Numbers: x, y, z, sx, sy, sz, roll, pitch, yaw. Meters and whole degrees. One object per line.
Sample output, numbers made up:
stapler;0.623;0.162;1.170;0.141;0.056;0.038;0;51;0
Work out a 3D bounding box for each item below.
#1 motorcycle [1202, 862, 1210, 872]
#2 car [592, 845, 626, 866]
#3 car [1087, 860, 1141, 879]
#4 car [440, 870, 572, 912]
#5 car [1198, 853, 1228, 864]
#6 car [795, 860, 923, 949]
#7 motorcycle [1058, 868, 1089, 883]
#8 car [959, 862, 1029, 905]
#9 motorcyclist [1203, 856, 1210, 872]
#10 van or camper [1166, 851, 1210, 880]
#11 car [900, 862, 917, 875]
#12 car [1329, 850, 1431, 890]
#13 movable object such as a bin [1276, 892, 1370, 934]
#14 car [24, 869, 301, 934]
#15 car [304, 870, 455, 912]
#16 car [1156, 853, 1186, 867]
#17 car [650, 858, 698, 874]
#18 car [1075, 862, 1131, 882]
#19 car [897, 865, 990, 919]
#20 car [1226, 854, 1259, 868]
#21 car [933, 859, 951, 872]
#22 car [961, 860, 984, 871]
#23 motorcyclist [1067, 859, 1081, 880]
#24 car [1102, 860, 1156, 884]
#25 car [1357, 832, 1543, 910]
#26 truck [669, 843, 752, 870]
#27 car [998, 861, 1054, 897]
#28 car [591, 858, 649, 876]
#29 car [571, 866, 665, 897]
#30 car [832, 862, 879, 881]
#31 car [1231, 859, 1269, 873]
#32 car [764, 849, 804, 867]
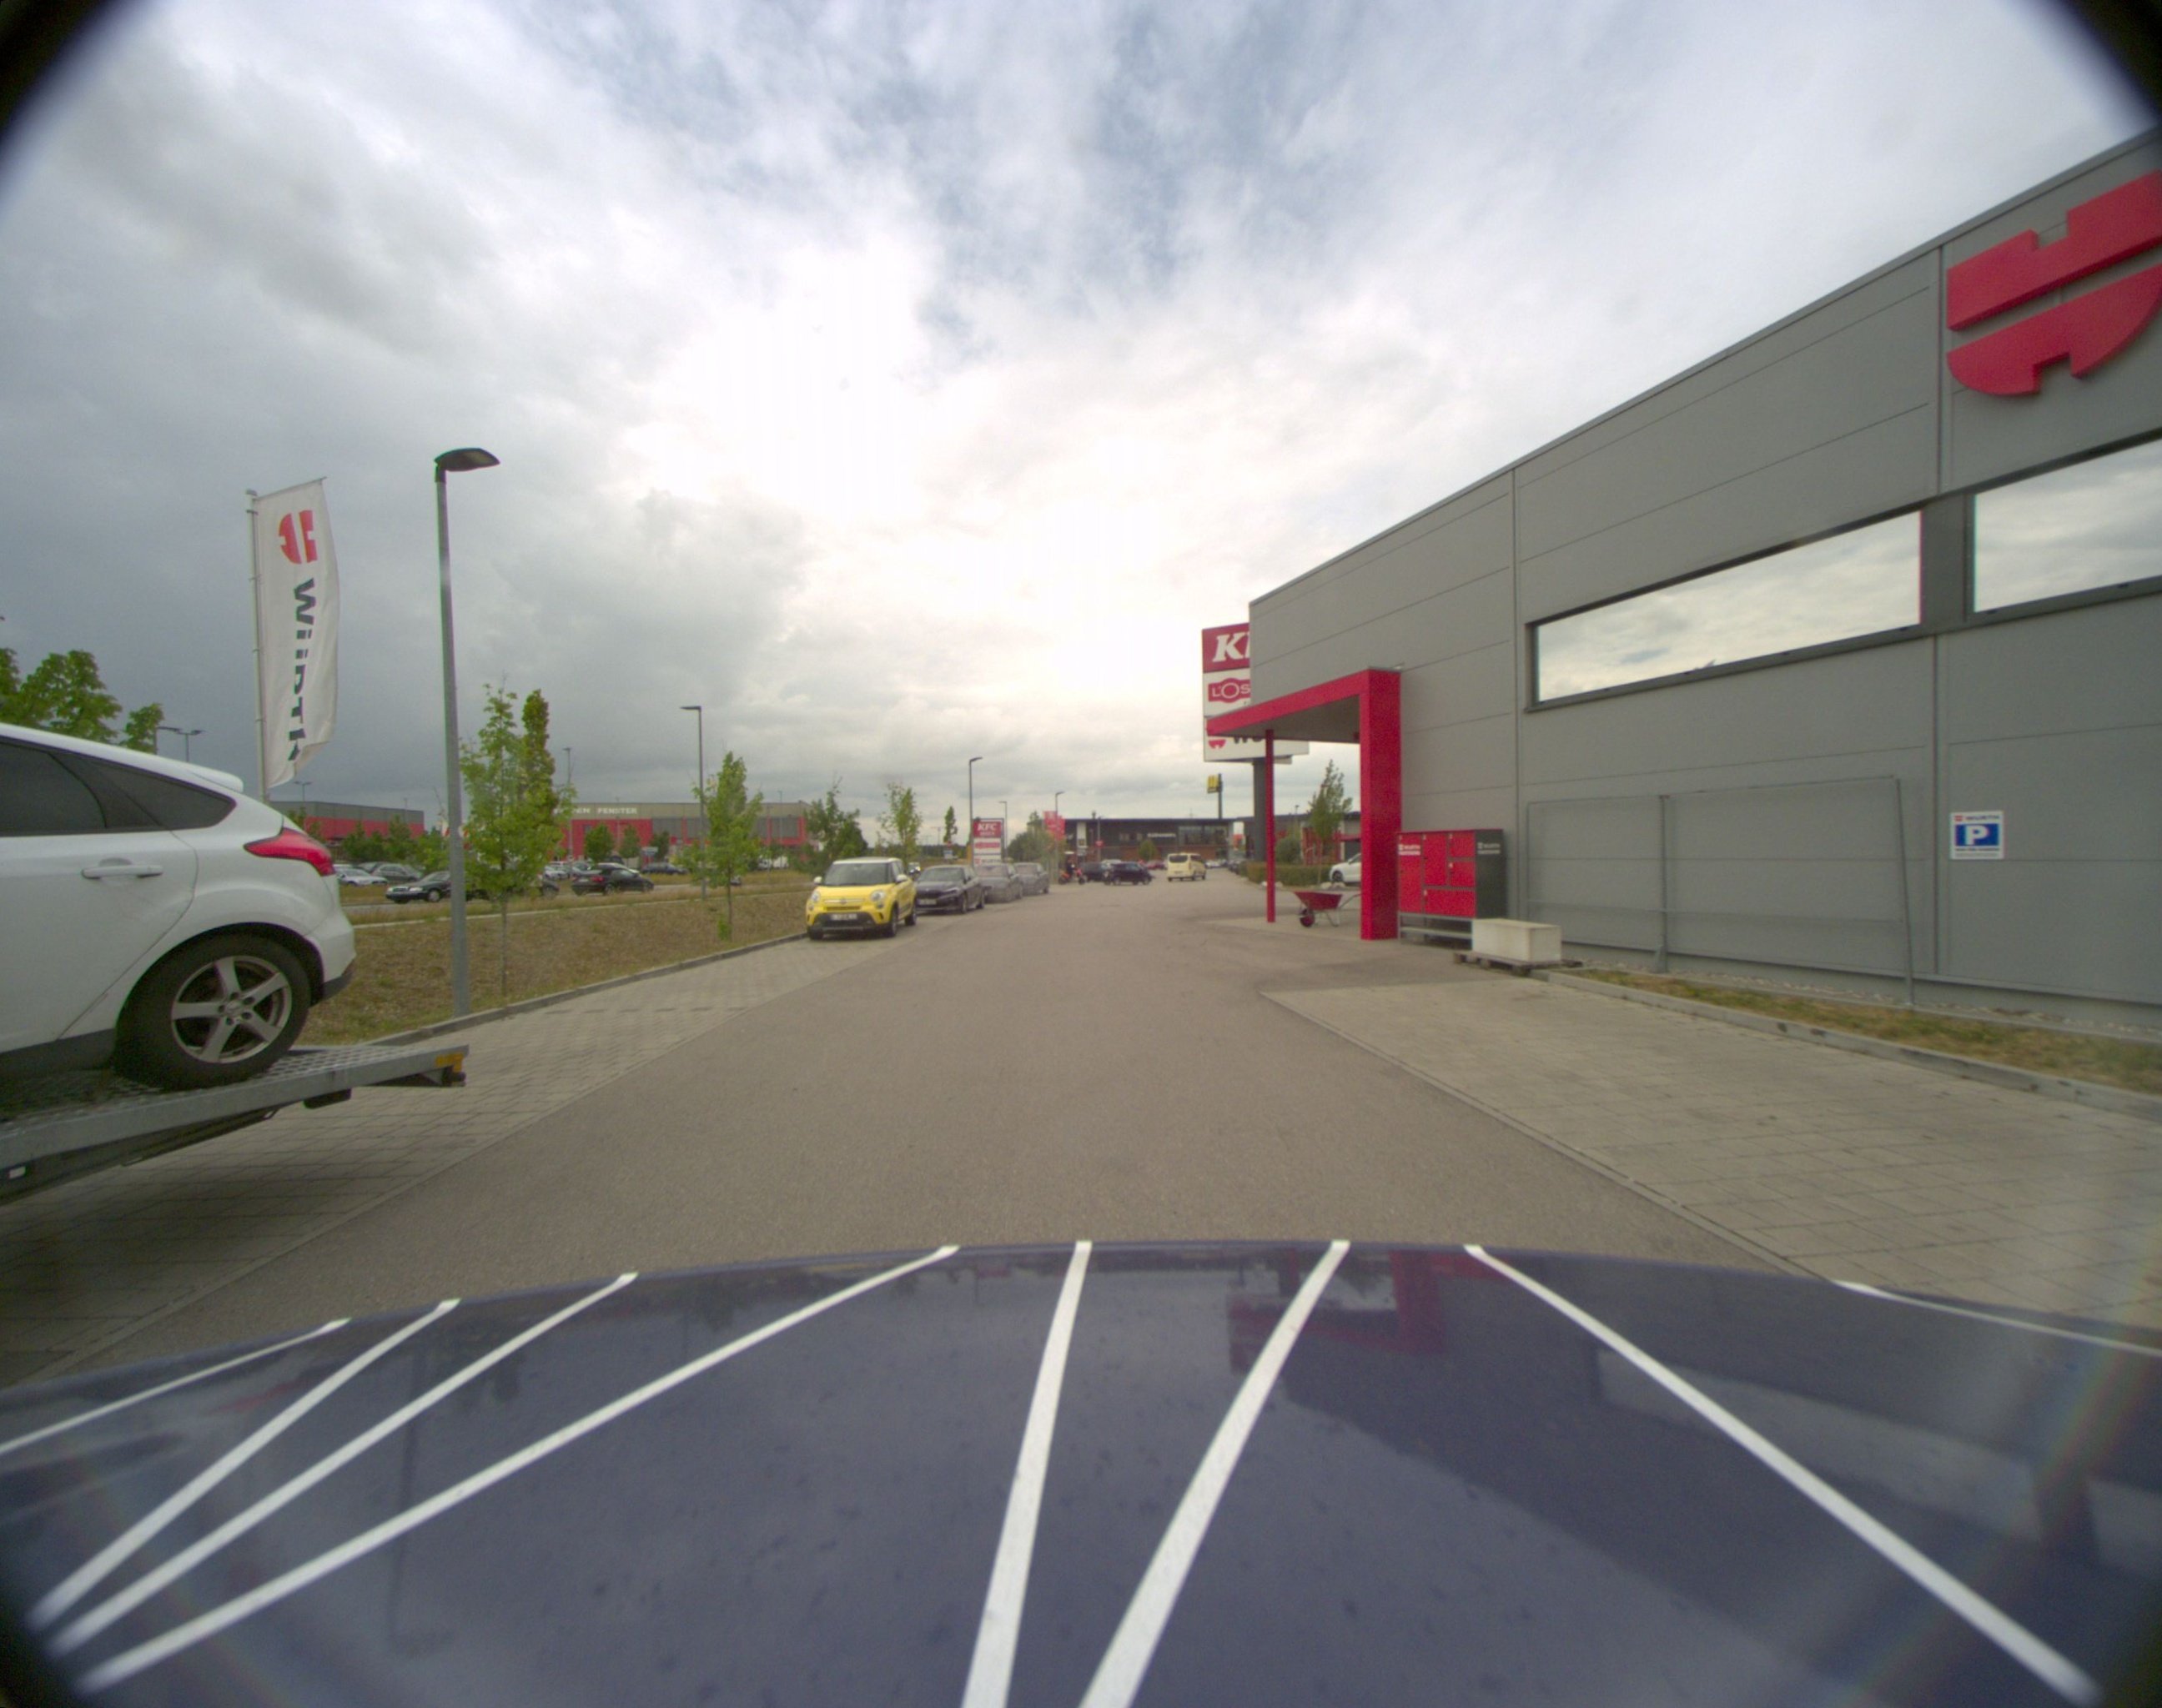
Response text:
motorcycle;13.445;1.398;81.507;0.815;1.069;2.151;-1;0;9
car;-52.995;0.147;85.394;2.026;2.192;4.343;-1;1;-14
car;2.617;1.181;59.518;3.994;1.412;1.812;-1;0;8
car;-23.940;1.502;31.873;1.906;1.559;4.338;-1;0;7
car;20.272;0.720;116.664;3.989;1.652;2.004;-2;0;38
car;-4.792;0.997;17.038;1.752;1.673;4.297;-2;0;-3
motorcycle;-0.464;1.371;48.406;1.871;0.911;0.555;-1;0;-24
car;-3.291;1.080;29.603;1.751;1.482;4.635;-1;0;5
motorcyclist;13.473;1.085;81.563;0.753;1.628;1.039;-1;0;9
van or camper;8.064;0.800;56.823;1.855;2.049;5.243;-1;0;24
car;-22.617;1.886;99.694;2.000;1.667;3.996;-1;0;-11
car;13.975;0.720;35.840;1.760;1.738;4.734;-1;0;-19
movable object such as a bin;4.724;1.130;14.833;1.586;0.712;0.802;-1;0;-21
car;-25.683;1.254;21.612;1.809;1.499;4.885;-1;0;2
car;-28.243;1.439;30.798;1.789;1.387;4.372;-2;1;5
car;13.321;0.894;112.518;3.989;2.002;2.004;-1;0;38
car;-40.563;1.177;75.718;3.843;1.419;1.741;-1;0;-9
car;1.642;1.322;56.974;3.994;1.412;1.812;-1;0;8
car;-4.074;1.083;23.250;1.751;1.407;4.307;-1;0;4
car;21.806;0.934;102.635;3.999;1.827;1.999;-1;0;-6
car;-19.999;1.691;109.483;1.906;1.803;4.000;-1;0;1
car;-14.603;1.552;102.318;1.998;1.506;4.371;-1;0;5
motorcyclist;-0.447;0.978;48.399;0.674;1.308;0.574;-1;0;-23
car;3.040;1.140;48.159;3.129;1.438;1.504;0;0;-23
car;10.607;0.465;22.278;1.940;2.002;4.750;-2;0;-24
truck;-40.994;0.232;84.404;2.673;2.928;8.198;-1;1;27
car;-2.455;1.099;35.135;1.751;1.482;4.490;-1;0;7
car;-41.449;1.166;68.340;3.996;1.433;2.000;-2;0;2
car;-23.263;1.348;38.393;1.906;1.389;4.003;-1;0;8
car;-16.614;1.288;56.219;1.757;1.346;4.003;-1;0;9
car;16.758;1.195;75.411;3.441;1.288;1.499;-1;0;-1
car;-38.137;0.506;97.787;4.440;2.110;1.998;-2;0;-12
